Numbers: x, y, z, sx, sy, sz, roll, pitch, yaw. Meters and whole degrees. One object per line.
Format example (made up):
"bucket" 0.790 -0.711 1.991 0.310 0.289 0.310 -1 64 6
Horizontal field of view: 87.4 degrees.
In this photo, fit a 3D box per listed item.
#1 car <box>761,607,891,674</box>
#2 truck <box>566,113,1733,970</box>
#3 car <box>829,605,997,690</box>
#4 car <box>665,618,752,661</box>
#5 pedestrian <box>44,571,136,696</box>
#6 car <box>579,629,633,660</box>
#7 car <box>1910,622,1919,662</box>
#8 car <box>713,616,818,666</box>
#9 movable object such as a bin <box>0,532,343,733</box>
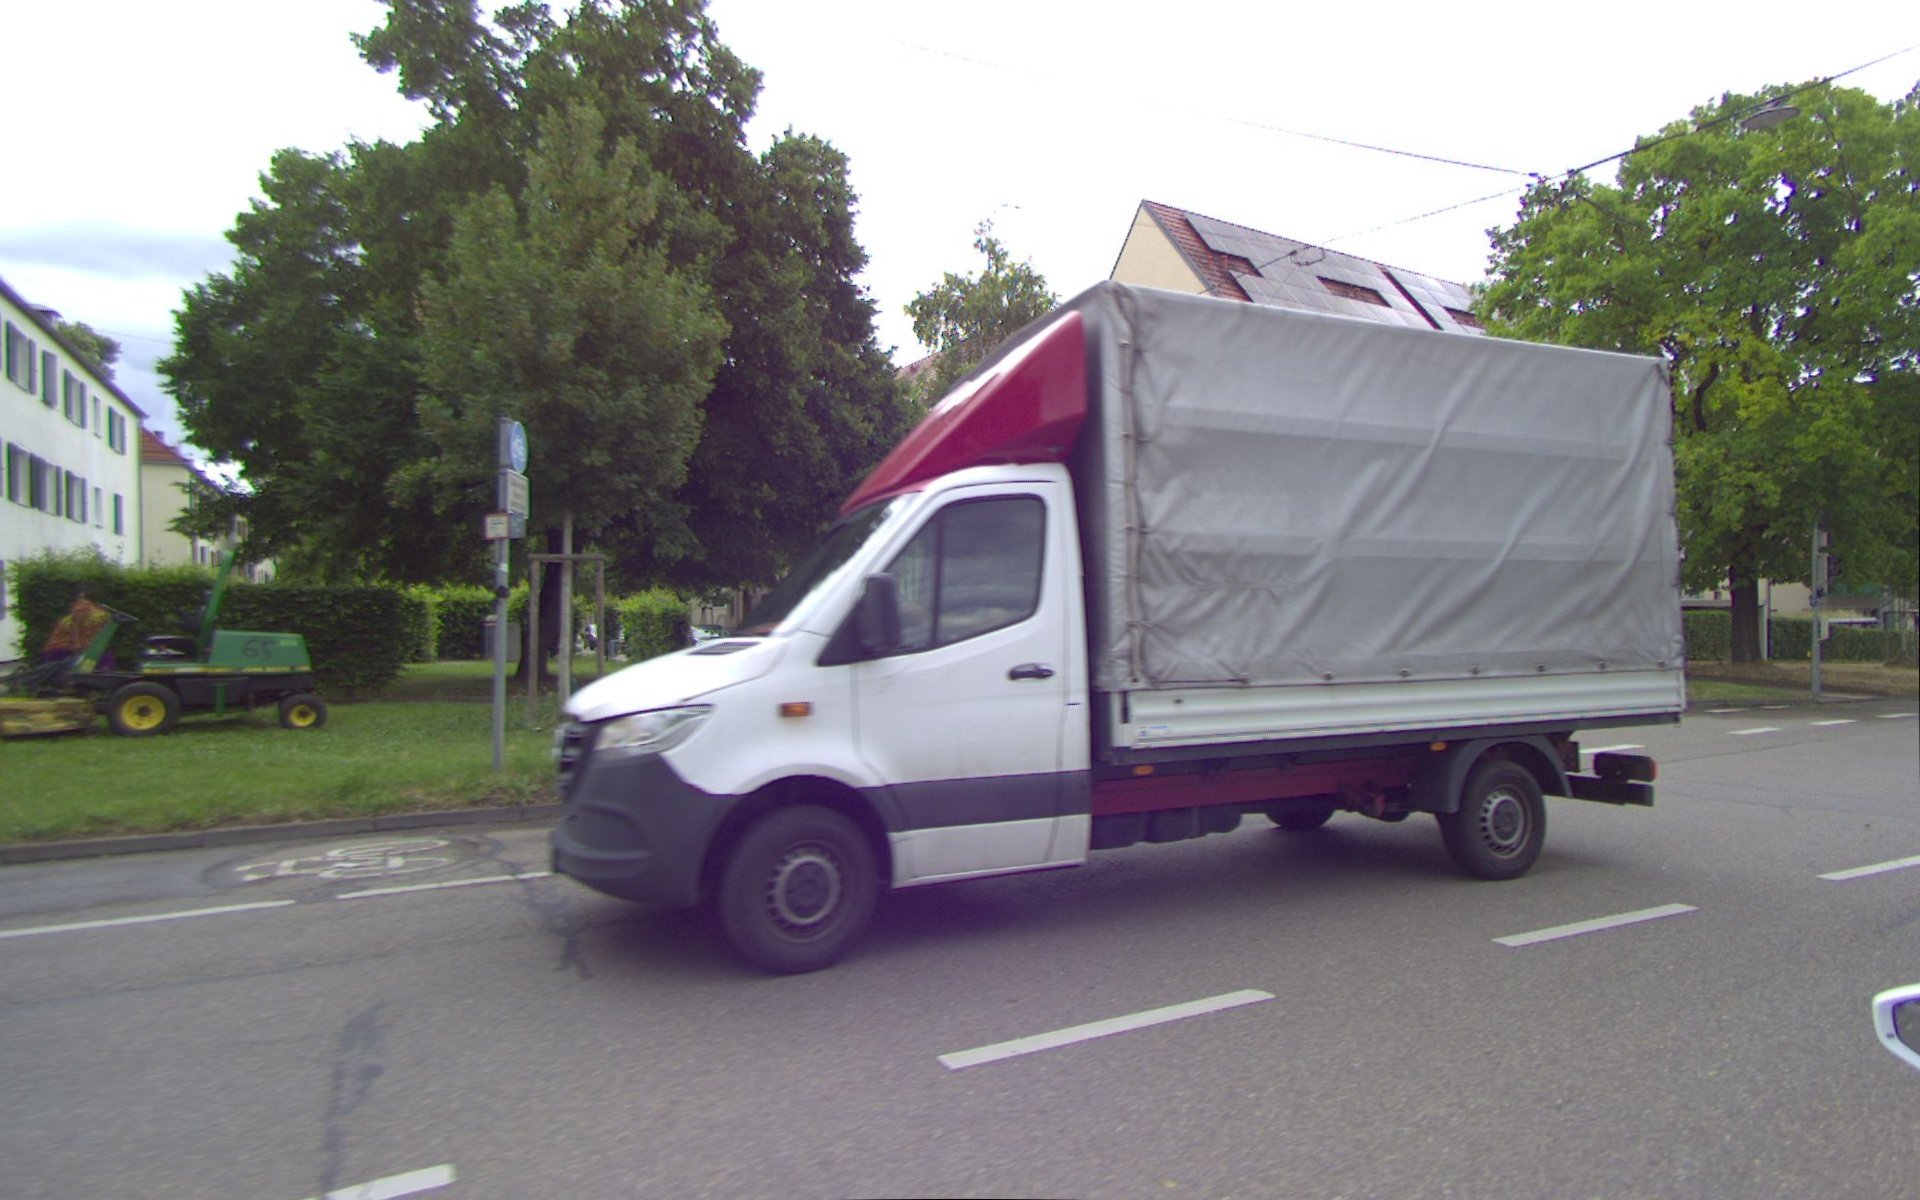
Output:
"car" -4.062 1.138 29.685 1.978 1.784 4.895 2 -1 -32
"truck" 1.339 -0.137 6.460 7.145 3.351 2.527 1 -1 -22
"car" -1.302 1.096 24.979 1.978 1.837 4.965 2 -1 -32
"car" -9.943 1.536 39.450 1.978 1.499 4.636 2 -1 -32
"pedestrian" -11.761 0.448 13.607 0.821 1.635 0.626 2 -1 -33
"car" -20.295 2.487 57.447 1.978 1.546 4.636 0 0 -32
"car" 41.251 1.773 40.851 1.978 1.617 3.430 2 -1 -32
"car" -6.710 1.364 34.206 1.978 1.499 4.636 2 -1 -32
"movable object such as a bin" -8.460 0.351 10.819 2.989 1.929 1.211 2 -1 -30
